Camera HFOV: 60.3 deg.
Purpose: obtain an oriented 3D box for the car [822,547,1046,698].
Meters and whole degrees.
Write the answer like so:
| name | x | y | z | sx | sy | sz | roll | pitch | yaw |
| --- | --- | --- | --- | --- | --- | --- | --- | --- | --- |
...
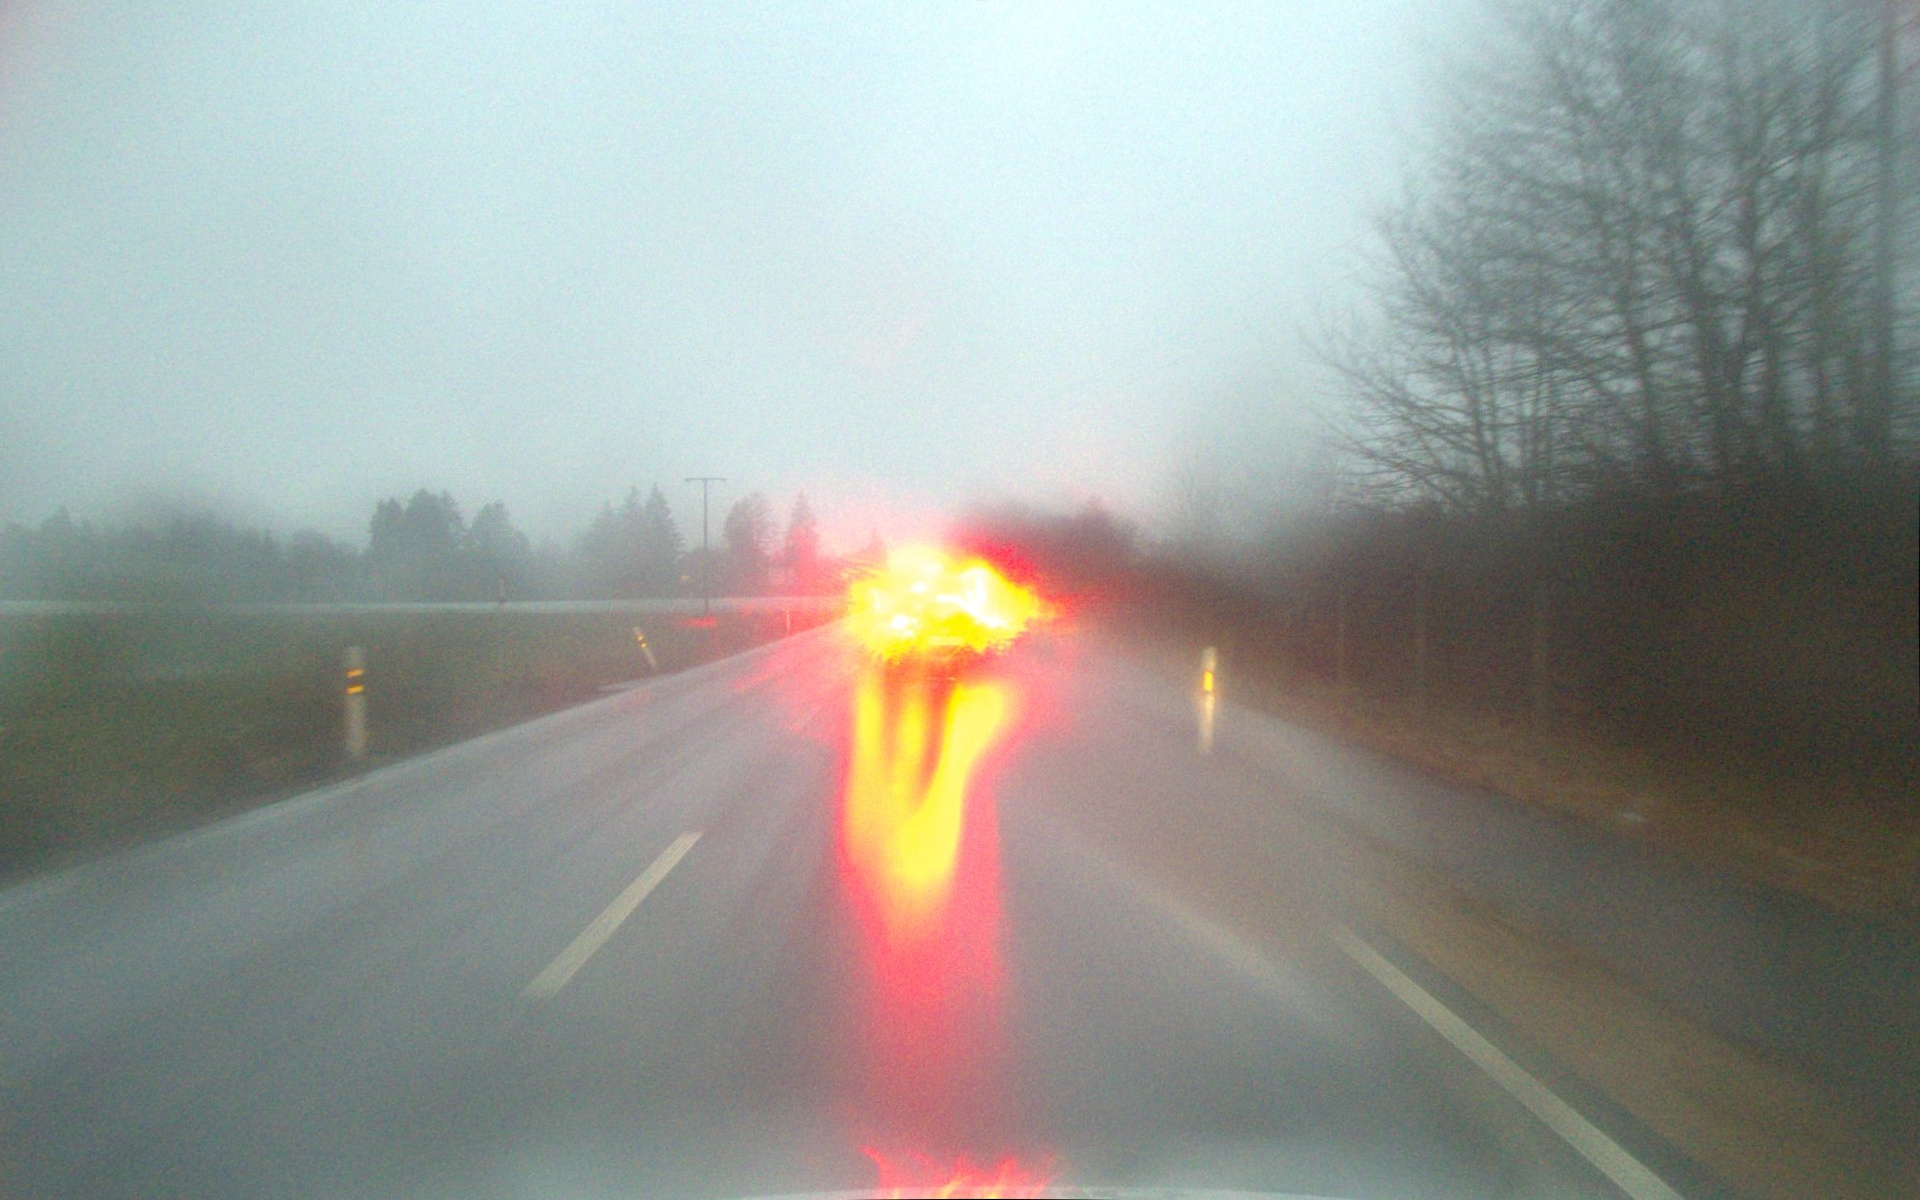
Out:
| name | x | y | z | sx | sy | sz | roll | pitch | yaw |
| --- | --- | --- | --- | --- | --- | --- | --- | --- | --- |
| car | -0.388 | 0.274 | 26.412 | 3.100 | 2.071 | 6.851 | -1 | 1 | -1 |

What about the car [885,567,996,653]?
| name | x | y | z | sx | sy | sz | roll | pitch | yaw |
| --- | --- | --- | --- | --- | --- | --- | --- | --- | --- |
| car | -0.499 | 0.210 | 43.887 | 2.700 | 2.071 | 6.590 | -1 | 1 | -1 |
